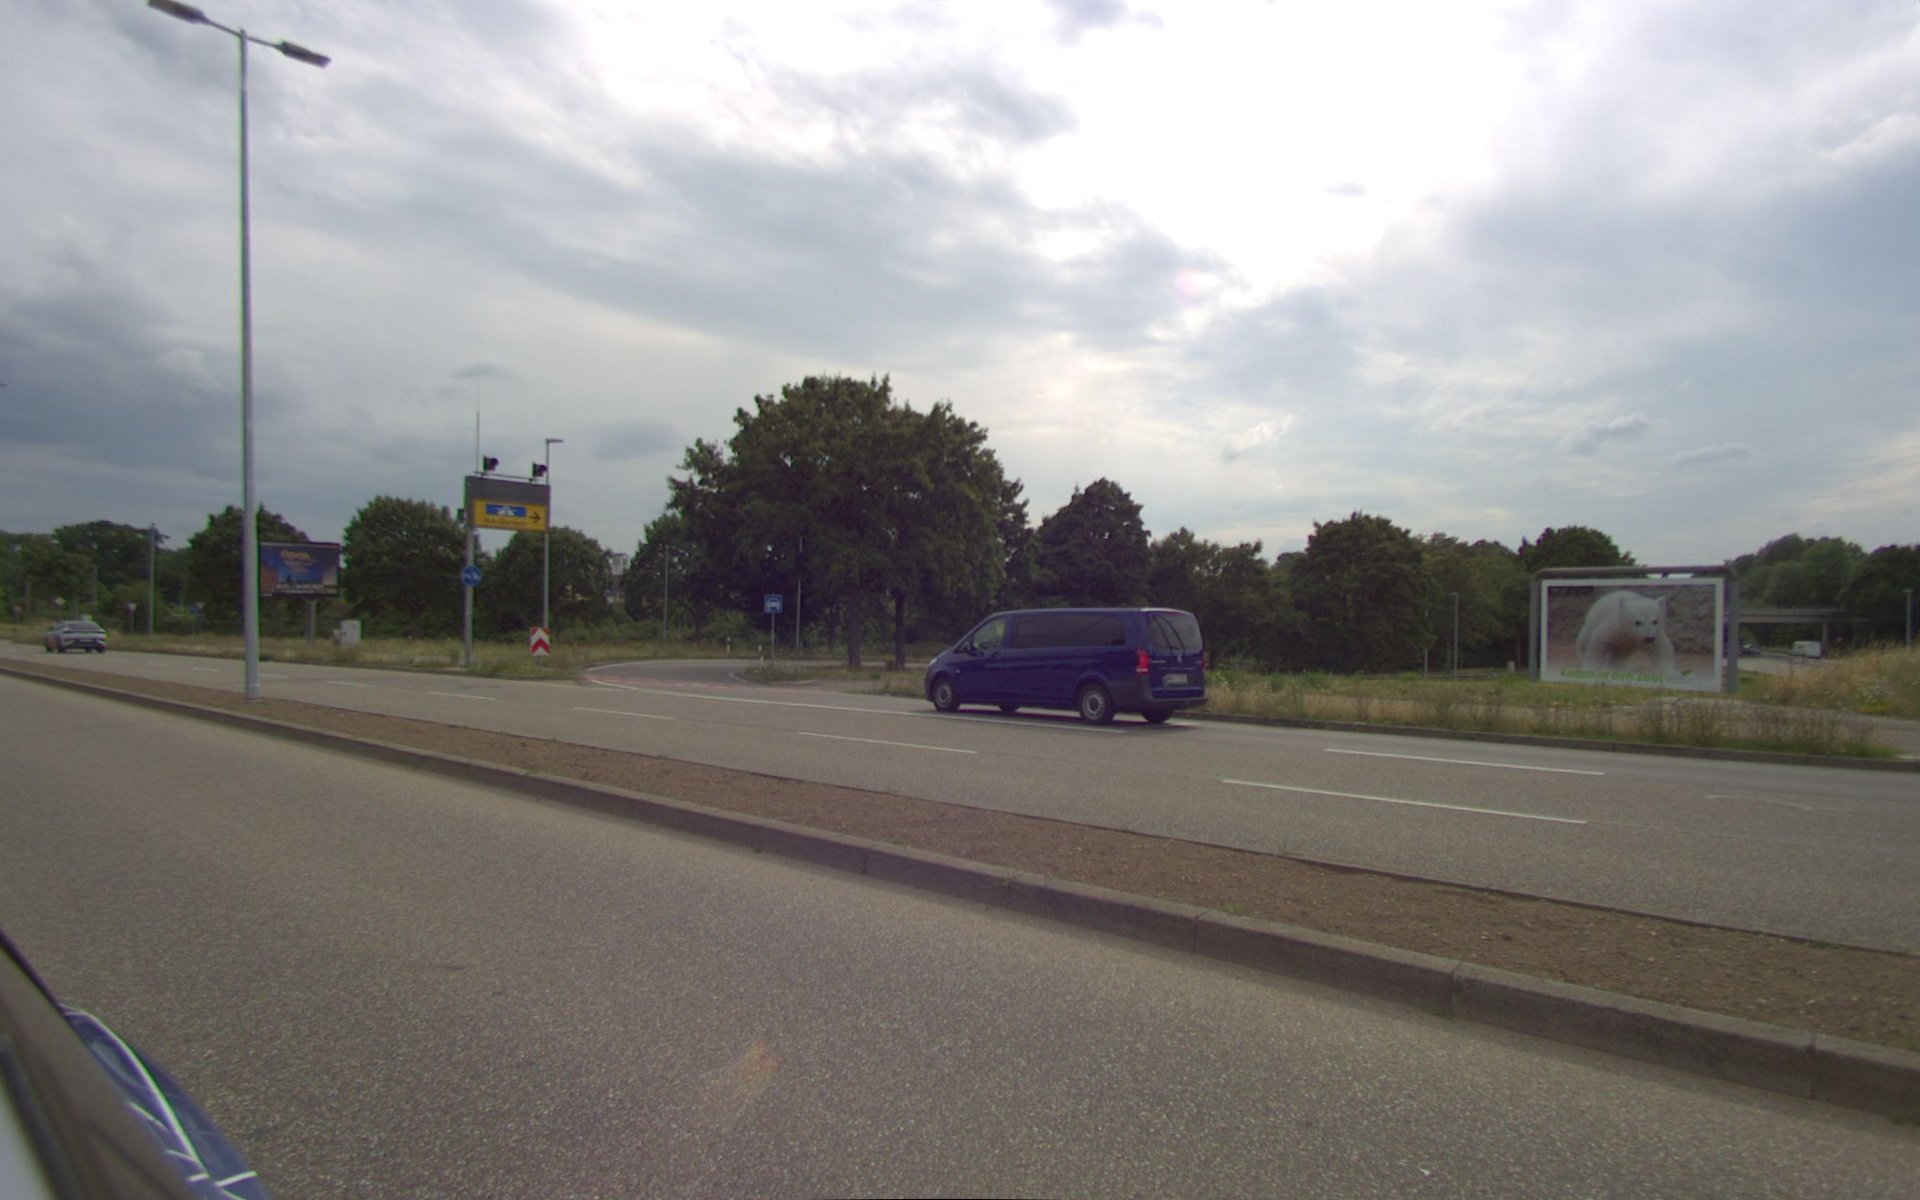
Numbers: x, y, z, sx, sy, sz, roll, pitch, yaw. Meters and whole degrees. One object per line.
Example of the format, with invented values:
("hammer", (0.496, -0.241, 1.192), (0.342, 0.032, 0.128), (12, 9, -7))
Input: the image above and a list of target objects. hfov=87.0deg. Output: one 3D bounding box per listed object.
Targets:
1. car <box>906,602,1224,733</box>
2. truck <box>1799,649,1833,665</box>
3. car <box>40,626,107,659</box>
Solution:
("car", (1.611, 1.091, 17.401), (1.826, 1.908, 5.507), (5, -5, -45))
("truck", (122.418, 8.114, 144.788), (1.777, 2.029, 4.543), (-1, -1, 14))
("car", (-45.189, 2.136, 51.563), (4.556, 1.613, 1.829), (-1, -2, 39))
